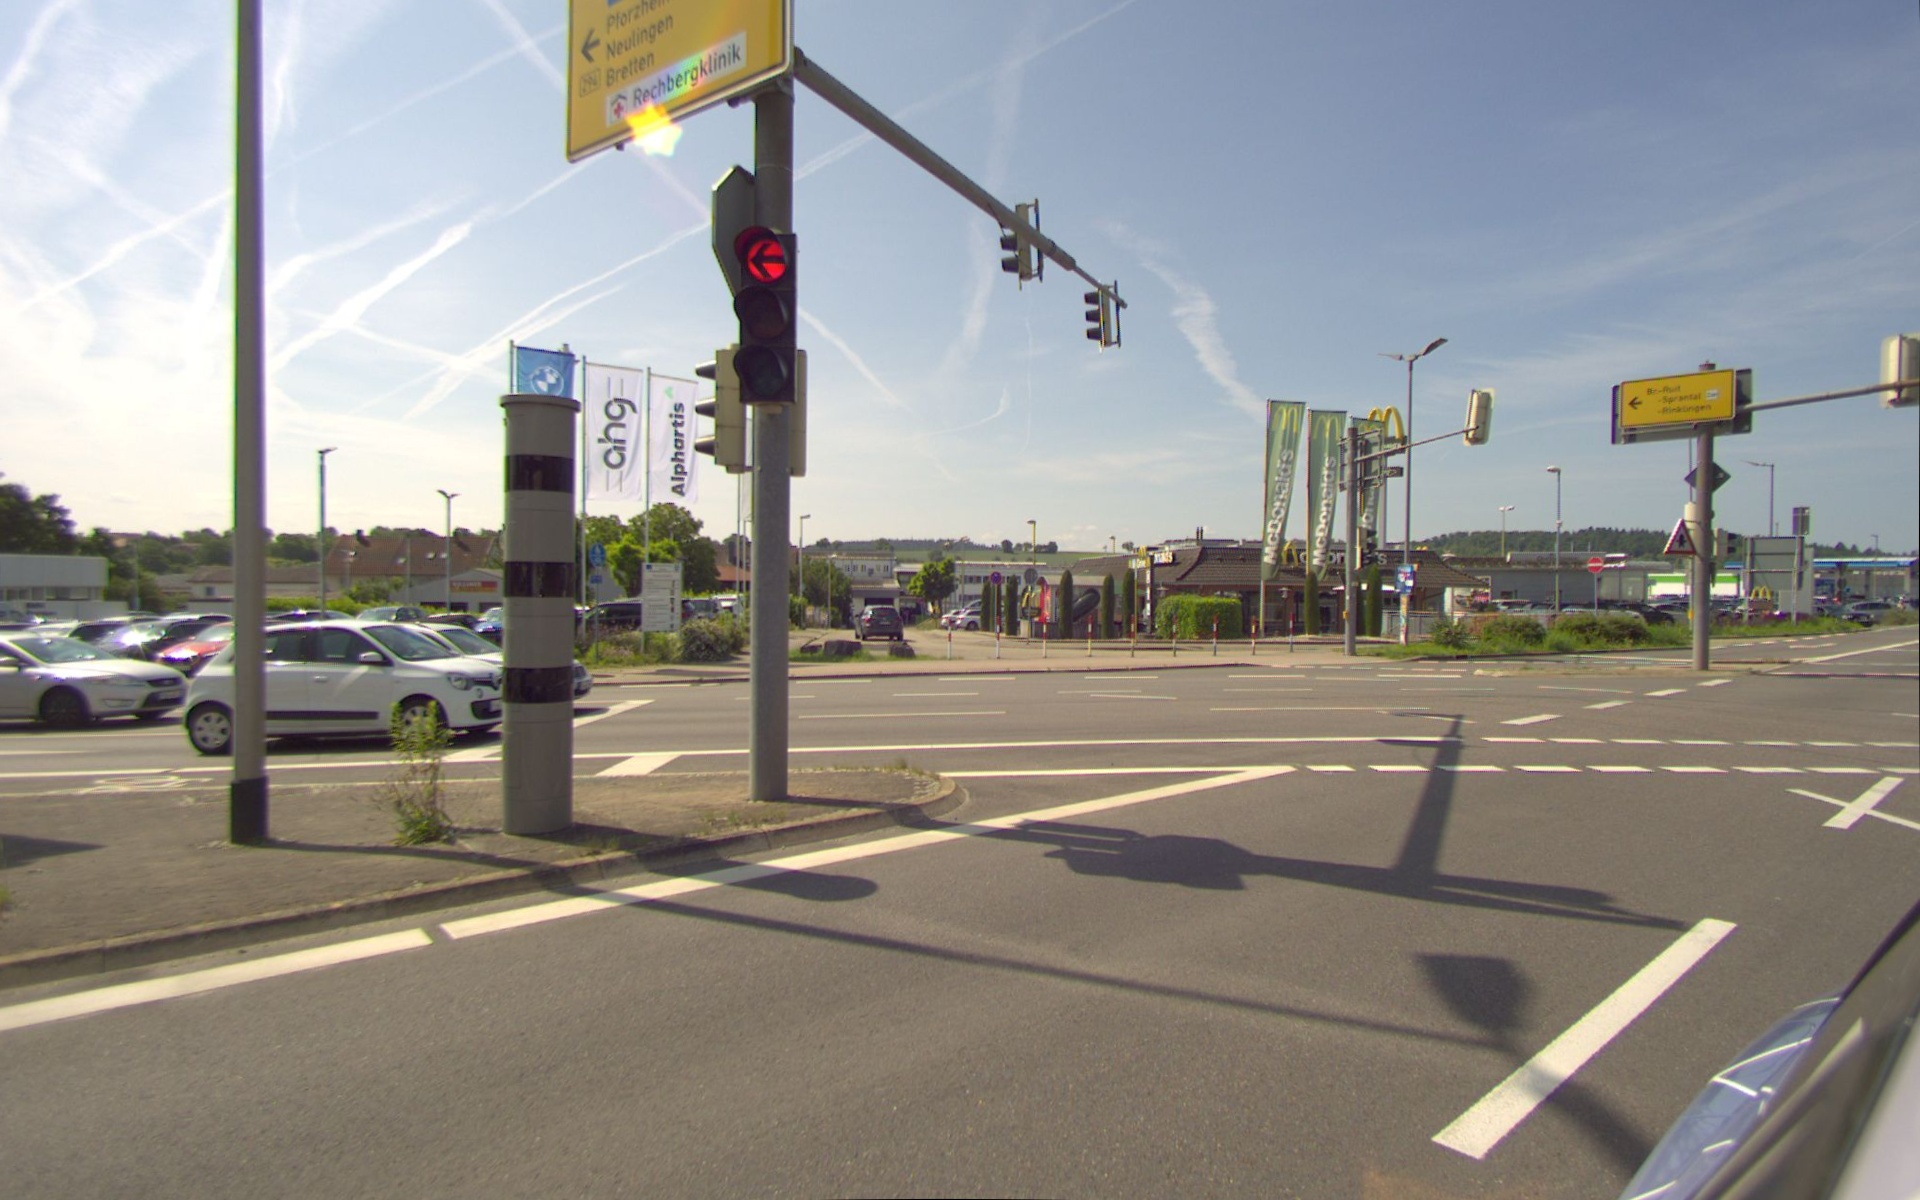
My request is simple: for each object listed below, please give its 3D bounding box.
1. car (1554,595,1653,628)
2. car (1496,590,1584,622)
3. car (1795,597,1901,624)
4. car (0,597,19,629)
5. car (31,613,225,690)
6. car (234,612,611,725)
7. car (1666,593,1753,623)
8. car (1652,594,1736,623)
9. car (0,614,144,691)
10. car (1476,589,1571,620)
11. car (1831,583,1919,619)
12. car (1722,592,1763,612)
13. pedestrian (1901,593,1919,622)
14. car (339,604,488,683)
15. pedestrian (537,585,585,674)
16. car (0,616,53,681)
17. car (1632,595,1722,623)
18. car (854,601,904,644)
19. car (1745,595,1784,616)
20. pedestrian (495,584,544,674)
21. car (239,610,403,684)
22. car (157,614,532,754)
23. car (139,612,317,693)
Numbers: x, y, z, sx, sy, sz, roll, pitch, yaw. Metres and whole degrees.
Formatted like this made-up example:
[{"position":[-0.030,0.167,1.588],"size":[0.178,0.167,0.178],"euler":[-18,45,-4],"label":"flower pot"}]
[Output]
[{"position":[34.622,0.612,54.530],"size":[4.149,1.596,1.863],"euler":[1,1,-4],"label":"car"},{"position":[33.822,0.335,59.090],"size":[4.087,1.691,1.778],"euler":[1,1,-4],"label":"car"},{"position":[49.918,0.644,57.035],"size":[1.931,1.350,4.808],"euler":[-3,-2,5],"label":"car"},{"position":[-52.172,0.718,52.976],"size":[1.970,1.638,4.192],"euler":[1,2,-1],"label":"car"},{"position":[-21.607,1.279,26.522],"size":[1.961,1.638,4.004],"euler":[1,2,-3],"label":"car"},{"position":[-8.318,1.032,16.016],"size":[4.904,1.524,2.000],"euler":[-2,0,0],"label":"car"},{"position":[47.212,0.490,63.835],"size":[3.976,1.691,1.764],"euler":[2,2,21],"label":"car"},{"position":[47.921,0.517,66.153],"size":[3.941,1.691,1.913],"euler":[2,1,14],"label":"car"},{"position":[-24.225,1.305,26.784],"size":[1.960,1.638,4.485],"euler":[1,2,-5],"label":"car"},{"position":[34.210,0.272,61.484],"size":[4.723,1.691,1.914],"euler":[1,1,-4],"label":"car"},{"position":[61.695,0.056,68.049],"size":[4.297,2.240,1.751],"euler":[2,1,21],"label":"car"},{"position":[70.258,0.199,90.821],"size":[4.350,1.675,1.776],"euler":[0,2,-37],"label":"car"},{"position":[64.607,0.509,68.532],"size":[0.975,1.935,0.740],"euler":[2,1,16],"label":"pedestrian"},{"position":[-14.337,1.084,26.847],"size":[1.961,1.745,4.004],"euler":[1,2,-3],"label":"car"},{"position":[-9.238,0.674,23.450],"size":[0.861,2.039,0.665],"euler":[0,0,-4],"label":"pedestrian"},{"position":[-26.679,1.345,26.593],"size":[2.049,1.638,4.482],"euler":[1,2,-7],"label":"car"},{"position":[42.764,0.505,60.387],"size":[4.180,1.510,1.751],"euler":[1,1,-4],"label":"car"},{"position":[-3.434,0.920,43.181],"size":[1.960,1.538,4.454],"euler":[1,2,-4],"label":"car"},{"position":[67.542,0.431,84.918],"size":[4.631,1.675,1.905],"euler":[0,2,-44],"label":"car"},{"position":[-10.174,0.653,23.403],"size":[0.861,2.039,0.665],"euler":[0,0,-4],"label":"pedestrian"},{"position":[-16.713,1.173,26.734],"size":[1.961,1.593,4.004],"euler":[1,2,-3],"label":"car"},{"position":[-7.627,1.006,12.805],"size":[3.683,1.523,1.711],"euler":[-2,0,-1],"label":"car"},{"position":[-19.105,1.303,26.659],"size":[1.961,1.749,4.004],"euler":[1,2,-3],"label":"car"}]
